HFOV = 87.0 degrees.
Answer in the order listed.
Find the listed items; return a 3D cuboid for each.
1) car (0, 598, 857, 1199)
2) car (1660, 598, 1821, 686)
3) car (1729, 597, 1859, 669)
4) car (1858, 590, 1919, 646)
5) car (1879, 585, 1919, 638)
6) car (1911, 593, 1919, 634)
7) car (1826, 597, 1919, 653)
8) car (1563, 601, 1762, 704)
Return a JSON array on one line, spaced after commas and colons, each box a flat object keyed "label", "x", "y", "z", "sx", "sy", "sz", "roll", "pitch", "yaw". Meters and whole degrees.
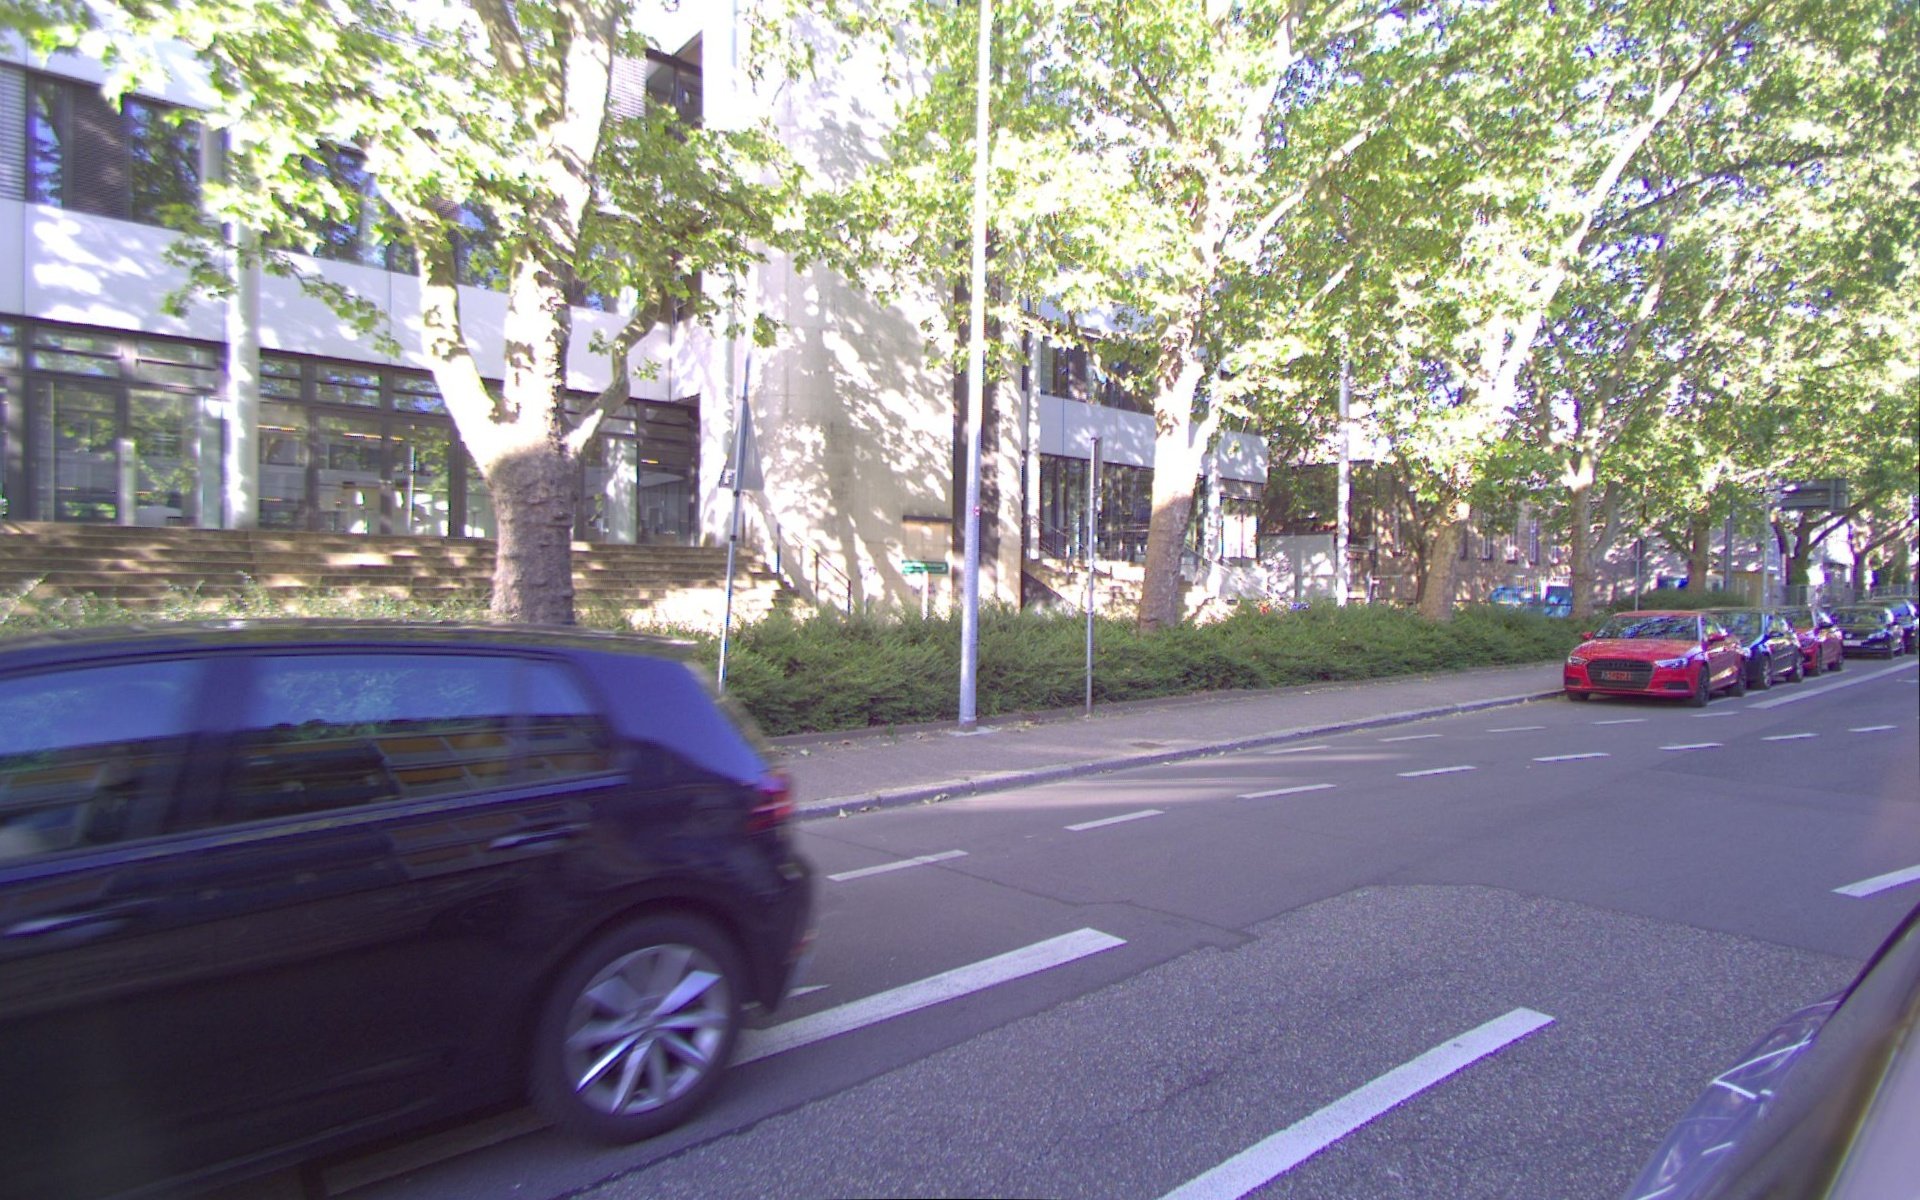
[{"label": "car", "x": -2.341, "y": 0.751, "z": 2.627, "sx": 3.832, "sy": 1.459, "sz": 1.693, "roll": -1, "pitch": 0, "yaw": -39}, {"label": "car", "x": 14.817, "y": 0.706, "z": 19.146, "sx": 3.930, "sy": 1.485, "sz": 1.684, "roll": 0, "pitch": 0, "yaw": -41}, {"label": "car", "x": 18.619, "y": 0.677, "z": 22.540, "sx": 3.715, "sy": 1.452, "sz": 1.664, "roll": 0, "pitch": 1, "yaw": -41}, {"label": "car", "x": 29.522, "y": 0.526, "z": 31.654, "sx": 3.770, "sy": 1.640, "sz": 1.684, "roll": 0, "pitch": 1, "yaw": -41}, {"label": "car", "x": 33.977, "y": 0.393, "z": 35.710, "sx": 4.354, "sy": 1.790, "sz": 1.818, "roll": 0, "pitch": 1, "yaw": -41}, {"label": "car", "x": 38.714, "y": 0.513, "z": 39.726, "sx": 3.801, "sy": 1.581, "sz": 1.684, "roll": 0, "pitch": 1, "yaw": -41}, {"label": "car", "x": 26.021, "y": 0.657, "z": 28.701, "sx": 3.930, "sy": 1.469, "sz": 1.684, "roll": 0, "pitch": 1, "yaw": -41}, {"label": "car", "x": 11.253, "y": 0.756, "z": 16.119, "sx": 3.962, "sy": 1.439, "sz": 1.722, "roll": 0, "pitch": -2, "yaw": -42}]
